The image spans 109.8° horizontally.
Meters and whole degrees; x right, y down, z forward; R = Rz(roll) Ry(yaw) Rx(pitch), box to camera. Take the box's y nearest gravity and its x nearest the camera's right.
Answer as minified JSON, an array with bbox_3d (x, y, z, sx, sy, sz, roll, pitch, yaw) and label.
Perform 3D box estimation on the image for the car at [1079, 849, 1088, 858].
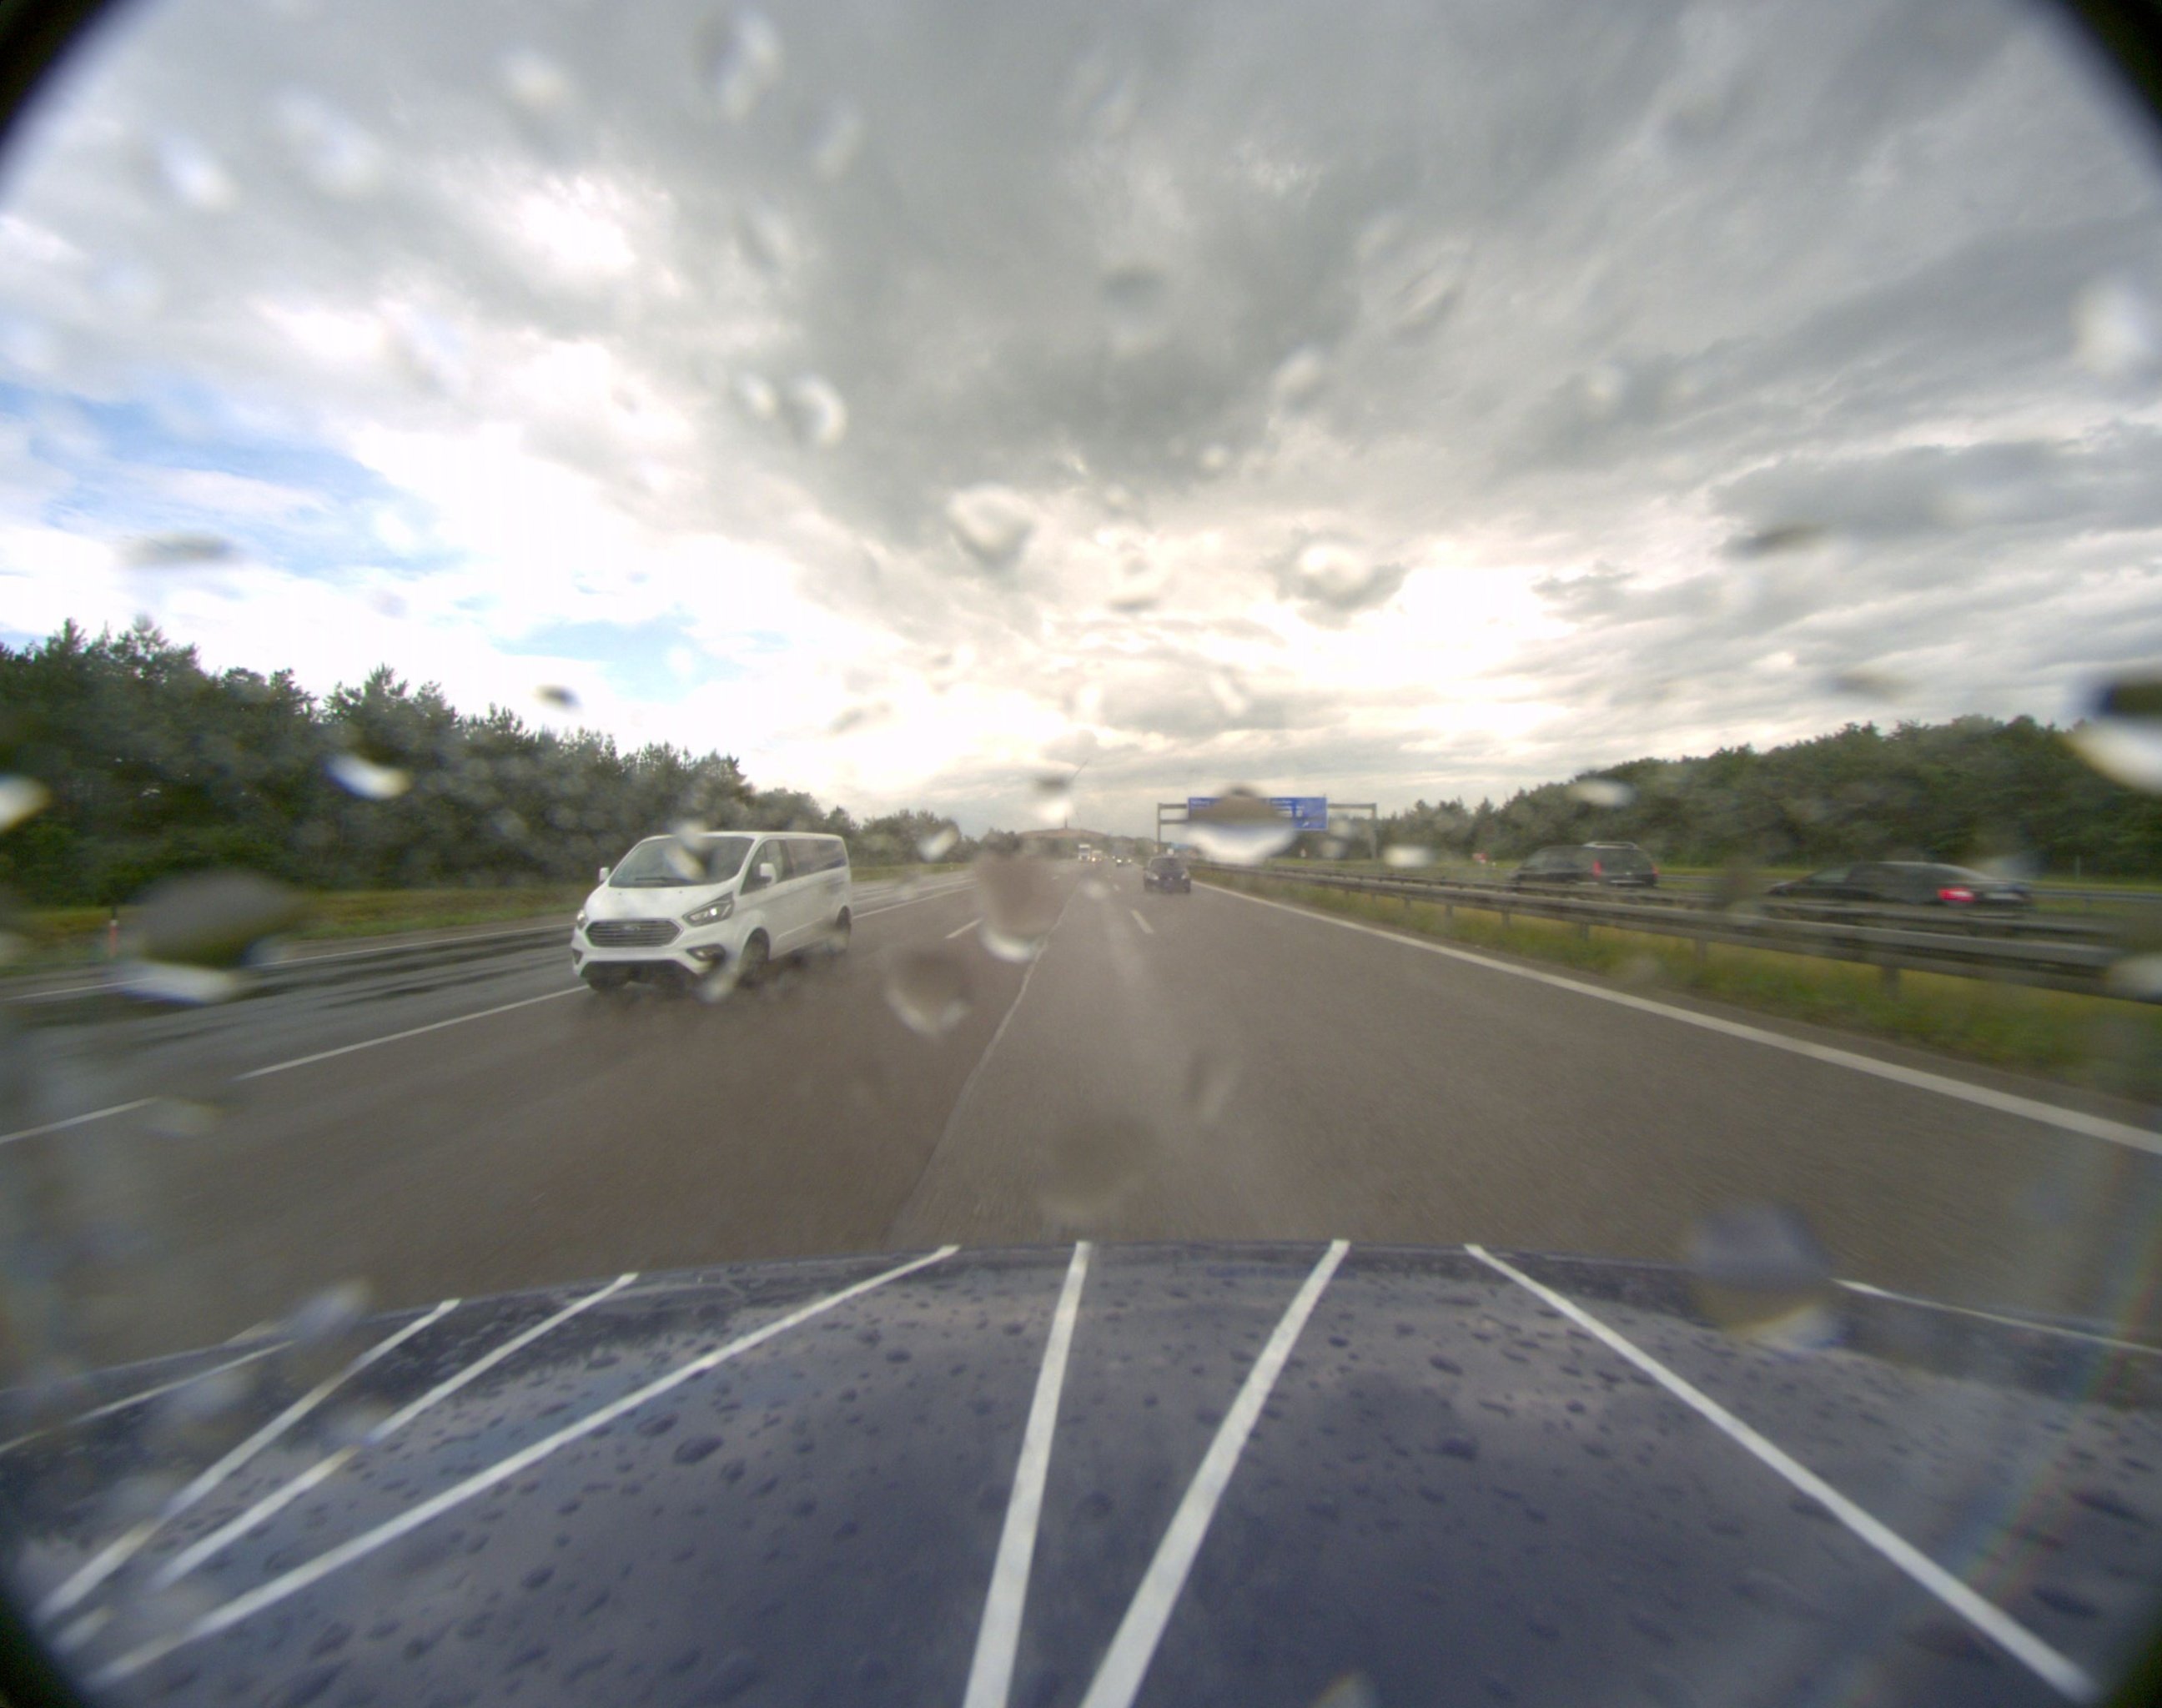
[{"bbox_3d":[0.649,-0.134,174.557,1.999,2.002,3.999,0,1,-1],"label":"car"}]

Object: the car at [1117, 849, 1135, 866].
[{"bbox_3d":[5.636,0.432,96.062,1.998,2.002,4.000,-2,0,1],"label":"car"}]

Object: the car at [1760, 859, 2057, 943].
[{"bbox_3d":[17.114,0.877,16.112,1.641,1.463,4.401,0,0,3],"label":"car"}]

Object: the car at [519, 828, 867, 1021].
[{"bbox_3d":[-4.918,0.749,10.863,1.998,2.002,5.483,-2,0,1],"label":"car"}]

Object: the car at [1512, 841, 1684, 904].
[{"bbox_3d":[13.834,0.428,20.665,1.998,1.463,4.116,-2,1,3],"label":"car"}]

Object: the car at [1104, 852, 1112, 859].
[{"bbox_3d":[7.486,0.514,213.719,1.999,2.002,3.999,0,1,-1],"label":"car"}]

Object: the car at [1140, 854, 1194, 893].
[{"bbox_3d":[3.381,0.734,30.585,1.809,1.321,4.431,-2,1,2],"label":"car"}]

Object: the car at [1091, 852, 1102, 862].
[{"bbox_3d":[3.184,0.547,155.815,1.999,2.002,3.999,0,1,-1],"label":"car"}]

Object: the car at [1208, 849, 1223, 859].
[{"bbox_3d":[22.536,0.030,127.506,1.723,1.565,4.000,-1,0,1],"label":"car"}]
